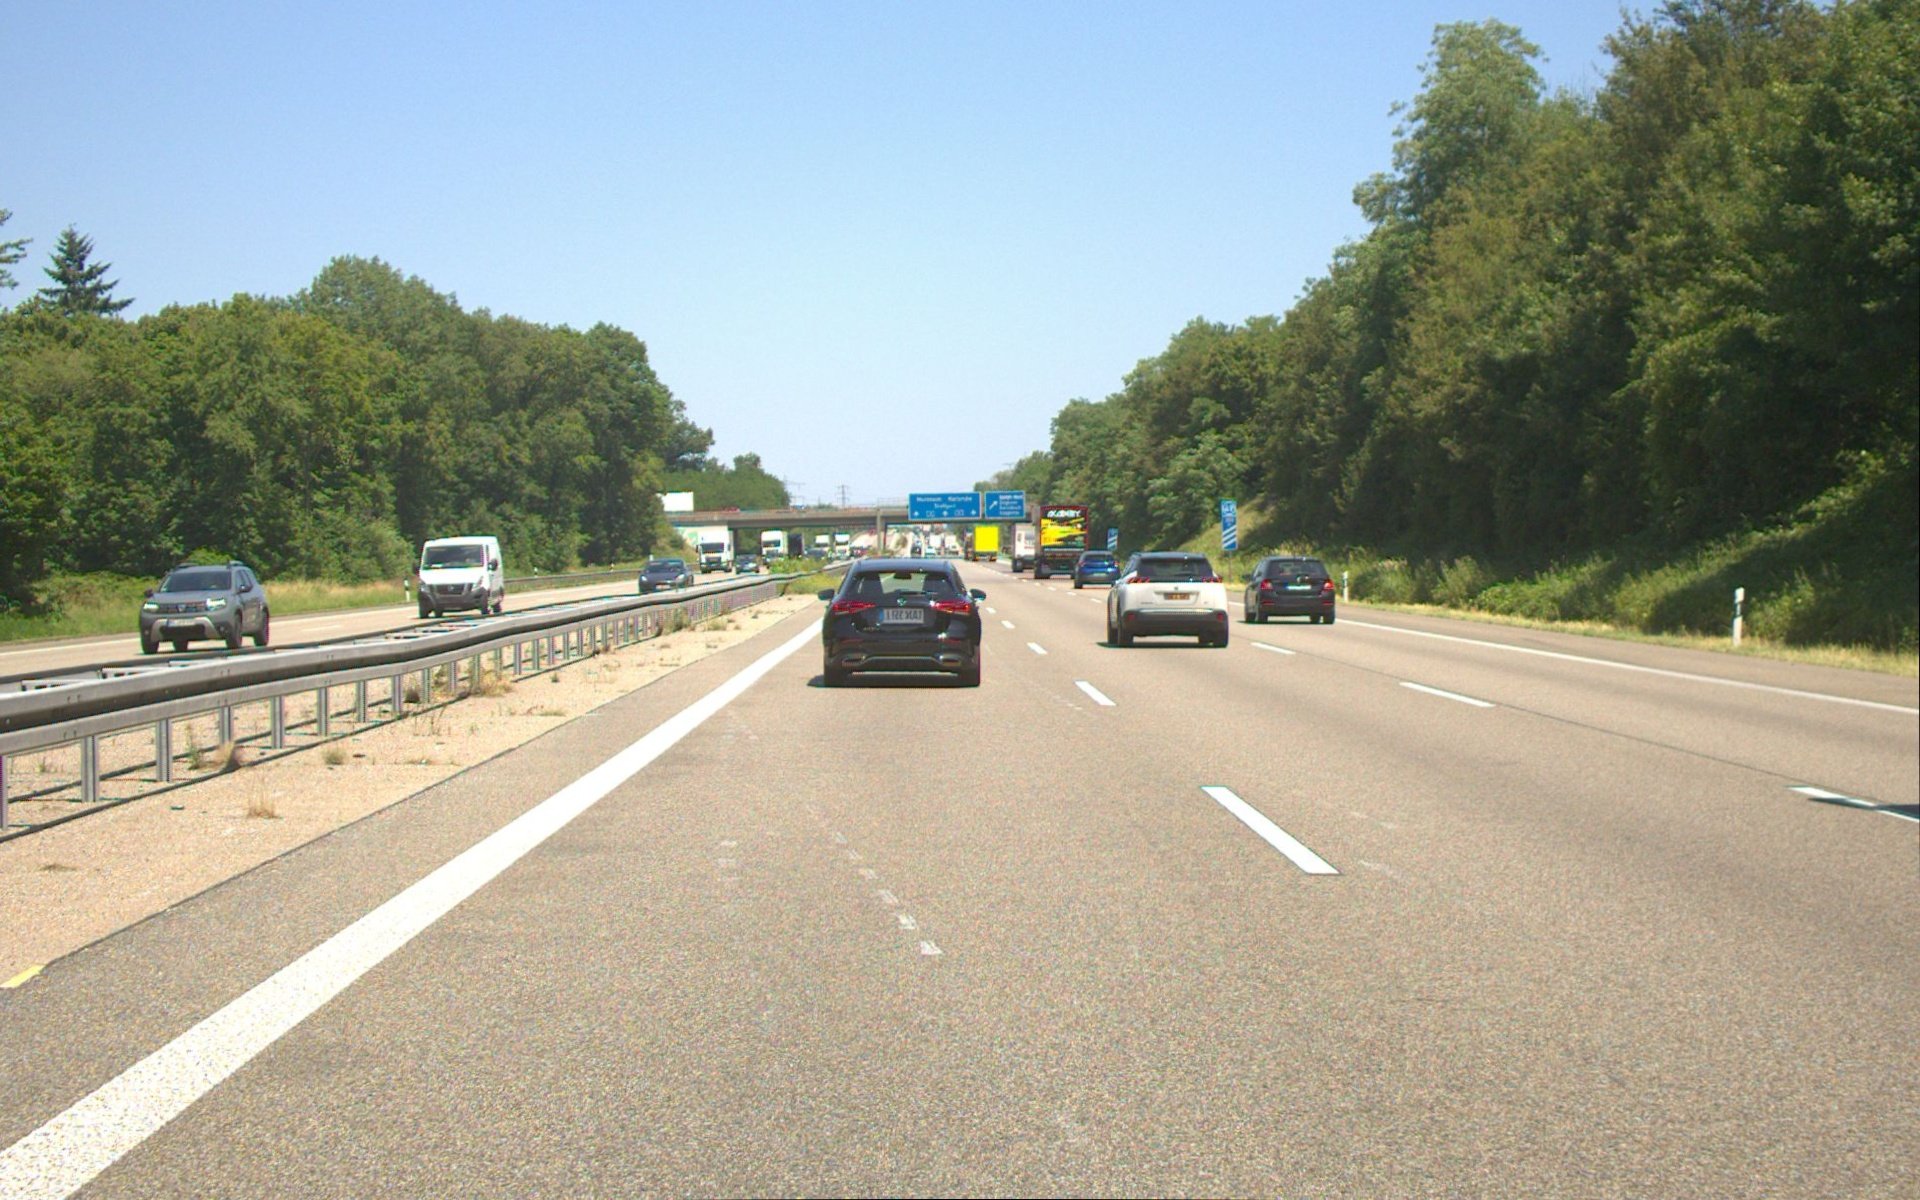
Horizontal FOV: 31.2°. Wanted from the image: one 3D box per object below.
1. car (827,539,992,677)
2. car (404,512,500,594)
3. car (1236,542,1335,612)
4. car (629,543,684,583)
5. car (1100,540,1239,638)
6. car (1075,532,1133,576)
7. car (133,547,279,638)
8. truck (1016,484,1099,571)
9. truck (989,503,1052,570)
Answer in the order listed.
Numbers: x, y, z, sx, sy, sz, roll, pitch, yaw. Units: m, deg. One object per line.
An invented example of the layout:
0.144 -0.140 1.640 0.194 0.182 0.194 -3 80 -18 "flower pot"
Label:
-0.619 0.052 39.827 1.799 1.496 4.242 0 1 -2 "car"
-14.753 -1.375 100.104 2.087 2.280 5.277 -1 1 -2 "car"
7.032 -0.518 74.620 1.789 1.456 3.949 0 1 0 "car"
-11.464 -1.414 130.041 1.805 1.475 4.568 -1 1 -2 "car"
3.396 -0.215 56.456 1.899 1.527 4.242 0 1 -2 "car"
6.011 -1.926 143.585 2.076 1.745 4.242 -1 1 -2 "car"
-14.341 -0.178 65.594 1.820 1.625 4.799 -1 1 -2 "car"
5.329 -3.969 190.969 3.647 4.574 15.768 1 1 -2 "truck"
4.264 -4.506 245.547 3.647 4.574 17.249 1 1 -2 "truck"
